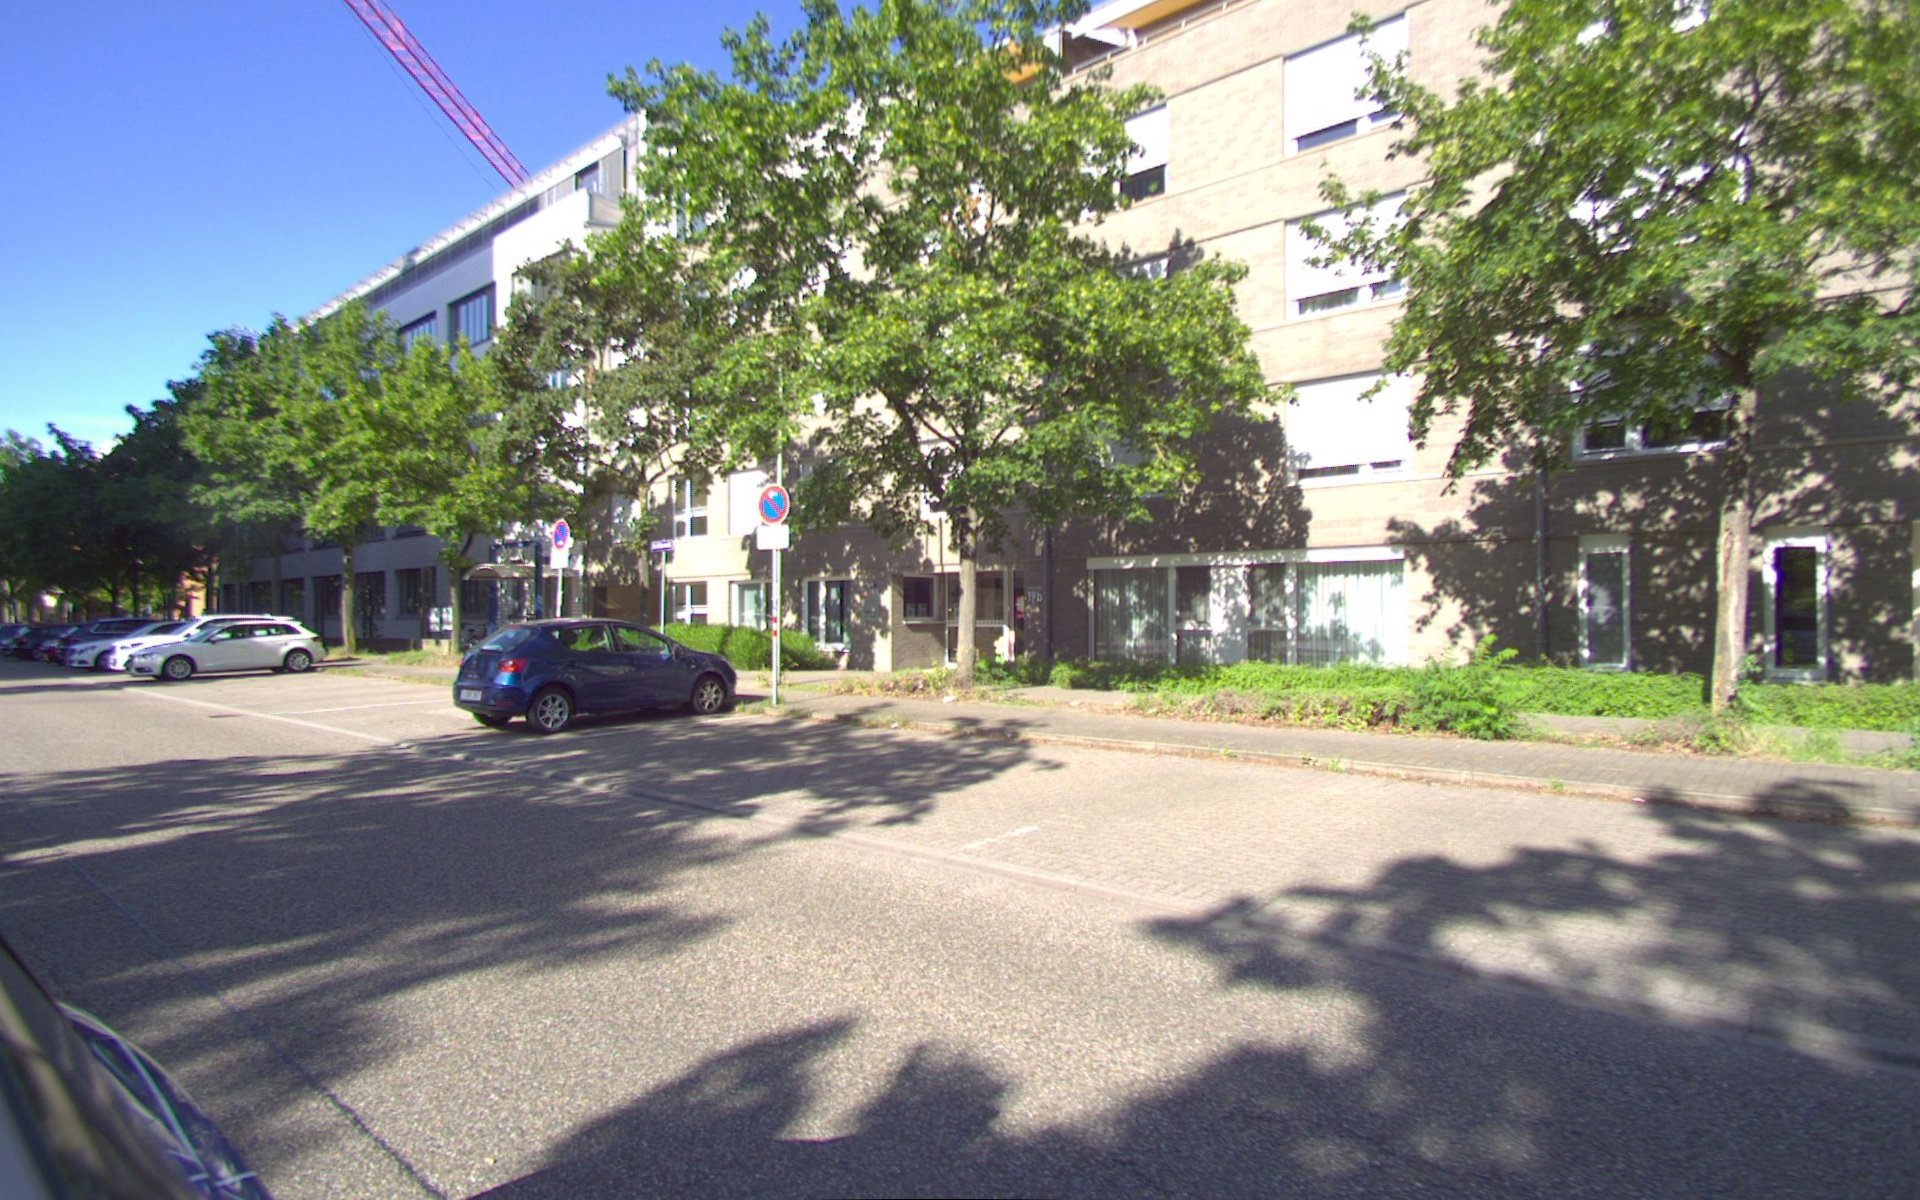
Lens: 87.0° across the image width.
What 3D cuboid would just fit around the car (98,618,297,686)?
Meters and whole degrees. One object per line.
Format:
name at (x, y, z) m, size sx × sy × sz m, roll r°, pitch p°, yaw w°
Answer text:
car at (-21.493, 1.396, 28.646) m, size 1.952 × 1.614 × 4.181 m, roll -1°, pitch 1°, yaw 41°

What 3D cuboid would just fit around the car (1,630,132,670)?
car at (-36.423, 2.021, 41.321) m, size 1.686 × 1.424 × 3.784 m, roll -3°, pitch -1°, yaw 39°

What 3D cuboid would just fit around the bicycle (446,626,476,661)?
bicycle at (-17.286, 1.501, 35.077) m, size 1.627 × 1.184 × 0.334 m, roll -1°, pitch -1°, yaw 41°

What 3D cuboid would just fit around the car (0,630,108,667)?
car at (-38.739, 2.036, 43.127) m, size 1.656 × 1.447 × 3.494 m, roll -1°, pitch -1°, yaw 39°

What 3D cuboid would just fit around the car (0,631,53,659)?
car at (-54.630, 2.561, 58.113) m, size 1.616 × 1.519 × 3.585 m, roll -1°, pitch -1°, yaw 39°

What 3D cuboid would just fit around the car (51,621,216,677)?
car at (-27.648, 1.596, 33.931) m, size 1.803 × 1.632 × 4.069 m, roll -2°, pitch -1°, yaw 42°

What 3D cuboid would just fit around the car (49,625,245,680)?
car at (-25.433, 1.597, 31.803) m, size 1.938 × 1.462 × 4.468 m, roll -2°, pitch 0°, yaw 36°

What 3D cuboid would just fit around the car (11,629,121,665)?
car at (-40.262, 2.077, 45.631) m, size 1.655 × 1.456 × 3.496 m, roll -1°, pitch -1°, yaw 37°

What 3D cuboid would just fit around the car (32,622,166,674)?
car at (-31.050, 1.690, 36.565) m, size 1.655 × 1.681 × 3.533 m, roll -2°, pitch -1°, yaw 43°

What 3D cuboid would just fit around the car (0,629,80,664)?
car at (-44.245, 2.193, 48.061) m, size 1.645 × 1.517 × 3.494 m, roll -1°, pitch -1°, yaw 39°

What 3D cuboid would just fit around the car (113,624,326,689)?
car at (-19.303, 1.417, 26.538) m, size 1.799 × 1.491 × 4.215 m, roll -2°, pitch -2°, yaw 40°

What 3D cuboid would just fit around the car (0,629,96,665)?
car at (-42.221, 2.140, 46.577) m, size 1.656 × 1.541 × 3.483 m, roll -1°, pitch -1°, yaw 39°

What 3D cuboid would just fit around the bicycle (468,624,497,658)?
bicycle at (-17.027, 1.464, 36.075) m, size 1.627 × 1.184 × 0.334 m, roll -1°, pitch -1°, yaw 41°

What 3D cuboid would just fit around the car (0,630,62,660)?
car at (-47.585, 2.276, 51.349) m, size 1.388 × 1.454 × 2.895 m, roll -1°, pitch -1°, yaw 40°

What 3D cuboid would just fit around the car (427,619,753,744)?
car at (-5.015, 1.012, 14.157) m, size 1.814 × 1.422 × 3.950 m, roll -1°, pitch -1°, yaw 37°

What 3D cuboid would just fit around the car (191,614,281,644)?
car at (-55.172, 2.178, 77.213) m, size 1.930 × 2.114 × 5.263 m, roll -1°, pitch -1°, yaw 39°
